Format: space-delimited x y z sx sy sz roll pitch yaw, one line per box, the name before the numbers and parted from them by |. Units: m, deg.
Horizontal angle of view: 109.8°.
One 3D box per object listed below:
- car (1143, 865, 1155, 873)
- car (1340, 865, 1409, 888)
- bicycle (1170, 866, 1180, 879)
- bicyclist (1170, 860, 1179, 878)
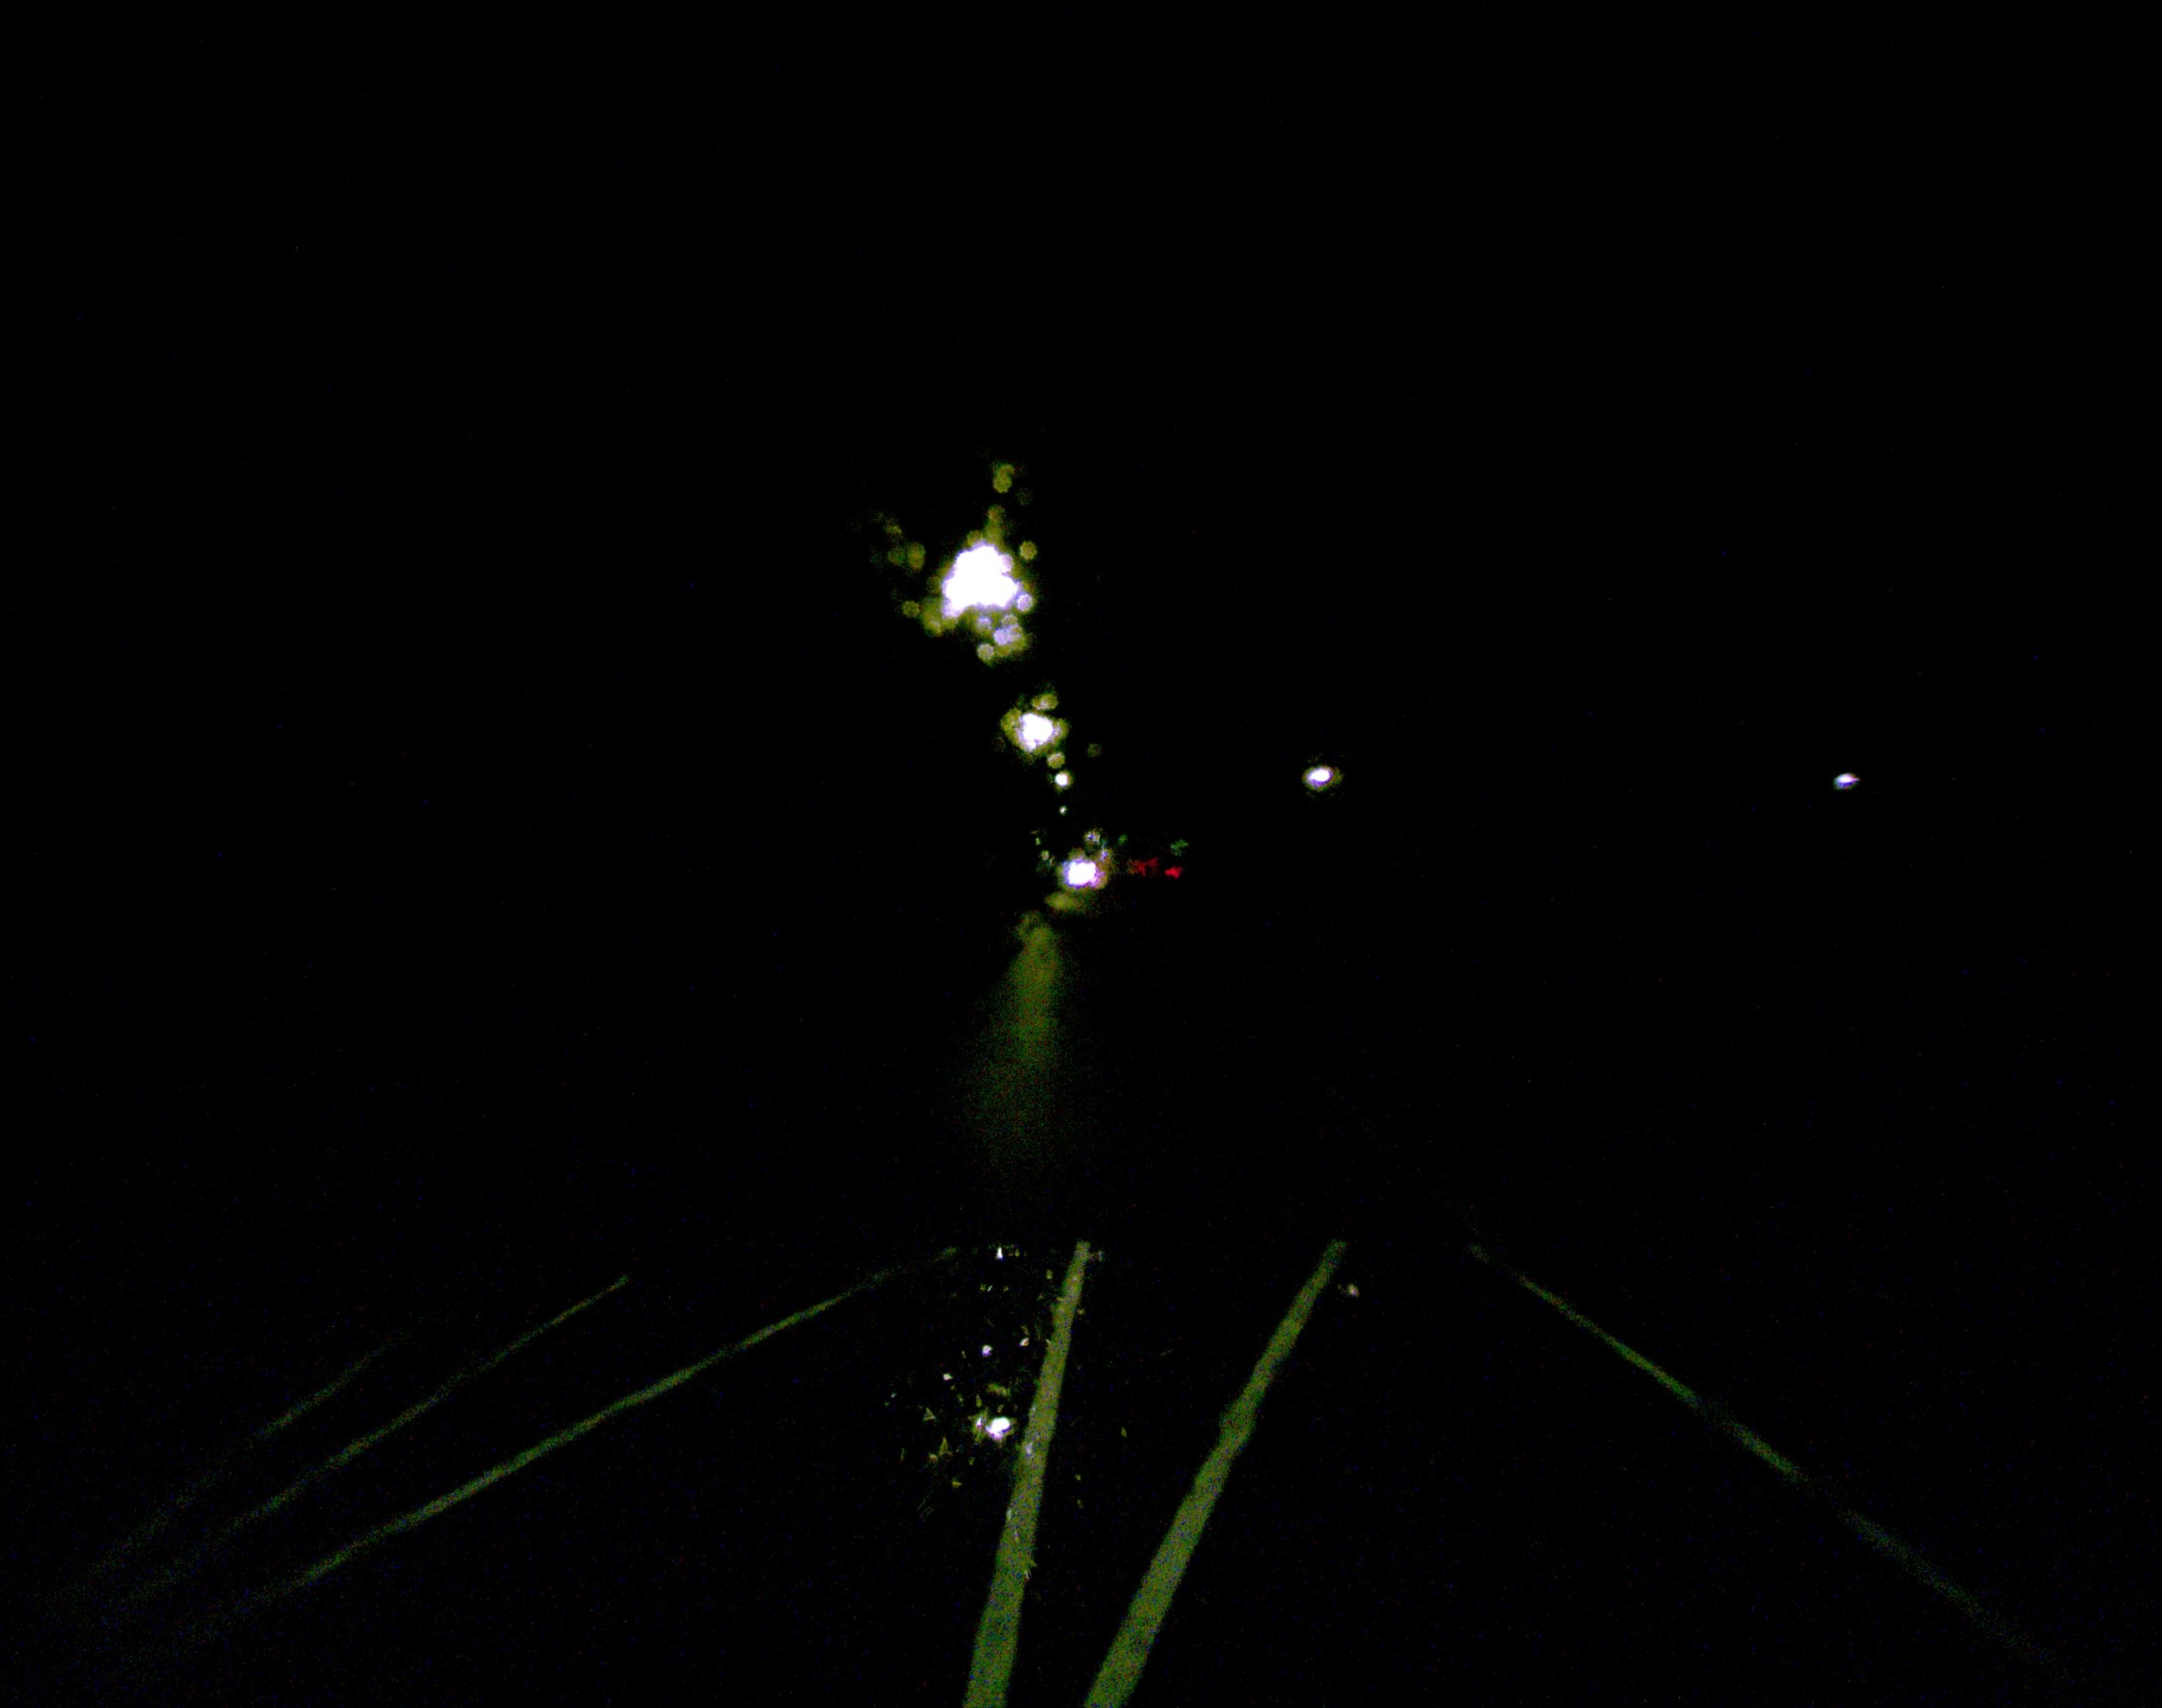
car | 14.005 3.012 156.636 1.997 1.446 4.306 4 0 8
car | 19.859 1.483 51.515 4.084 1.364 1.494 1 3 5
bicycle | 8.505 1.658 68.835 0.631 1.154 2.313 1 0 0
bicyclist | 8.503 1.394 68.937 0.638 1.585 0.961 -1 -3 0
